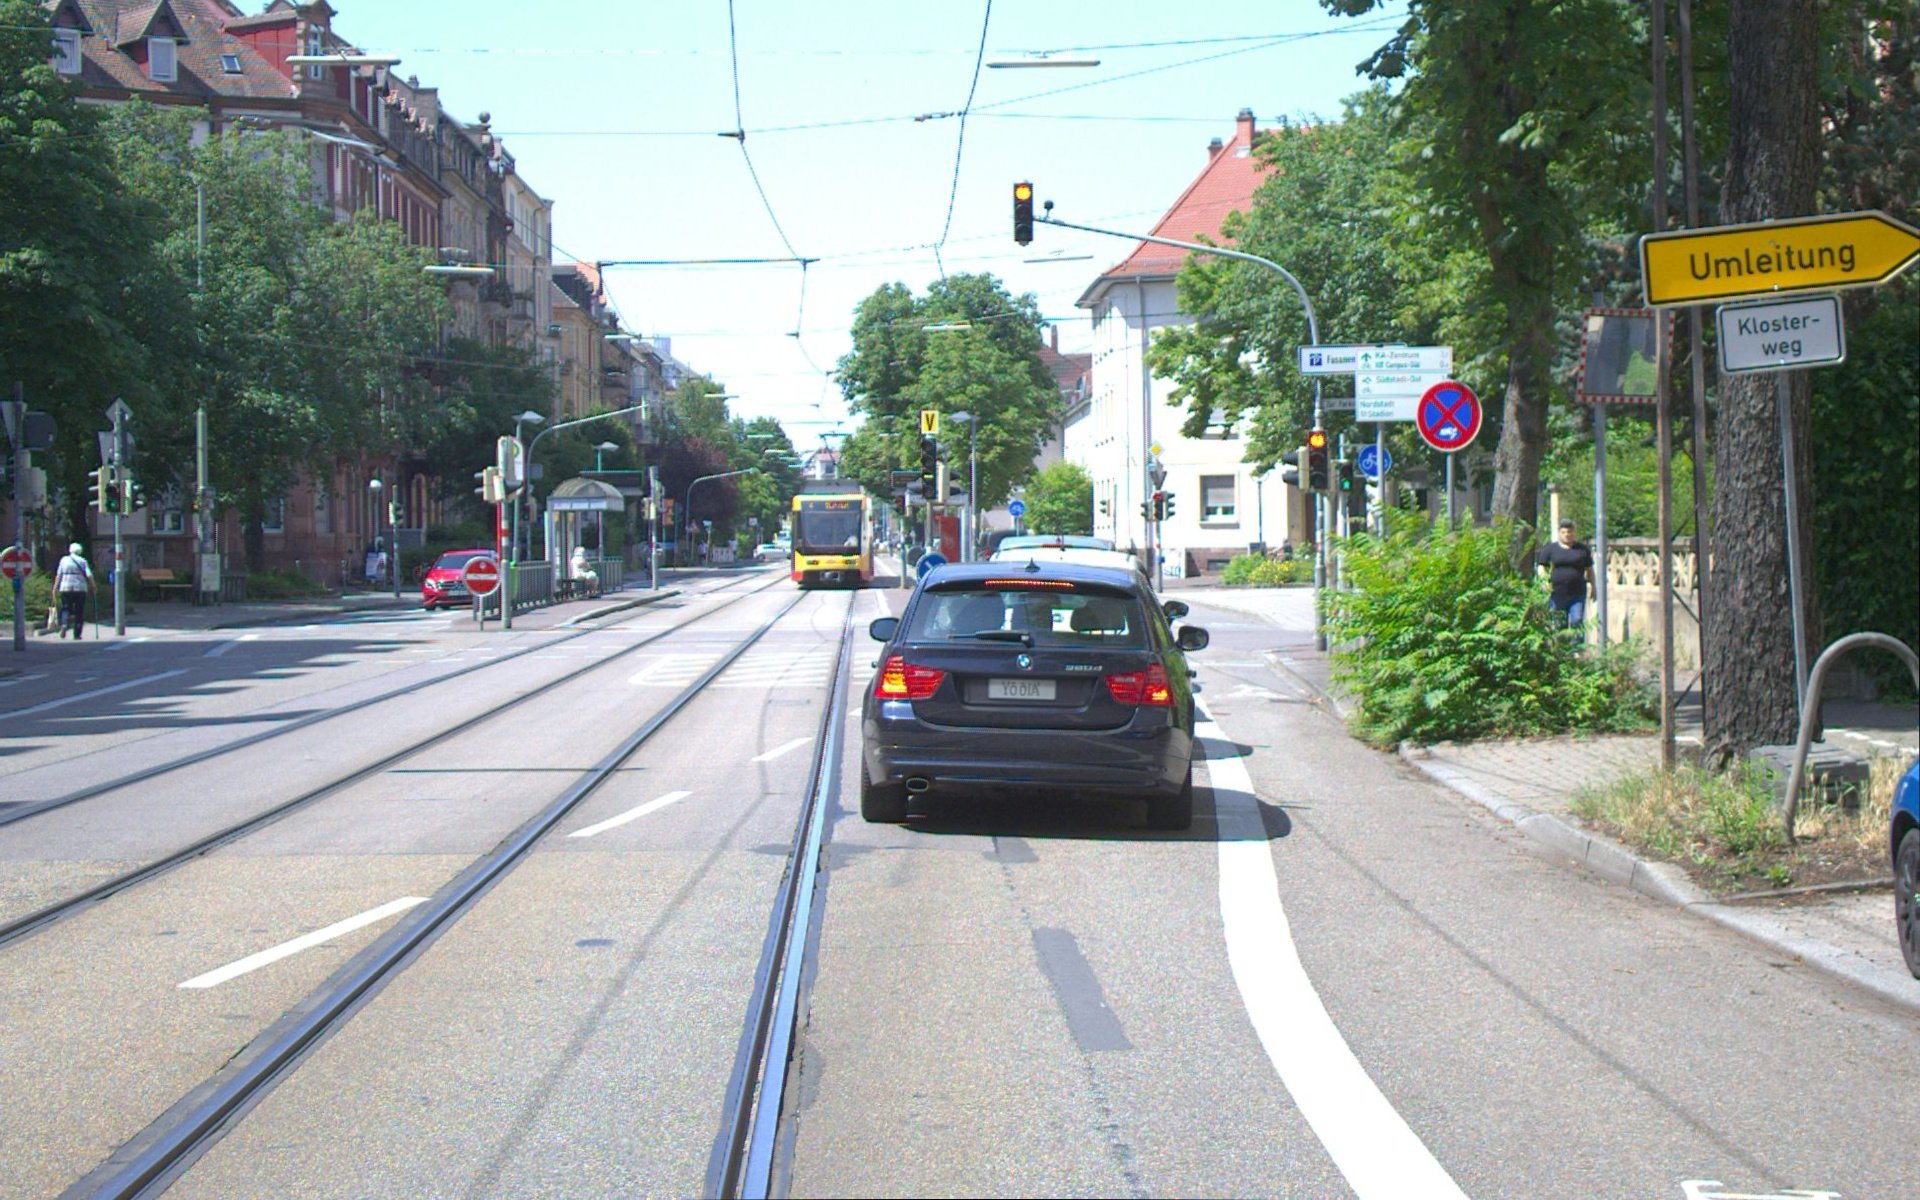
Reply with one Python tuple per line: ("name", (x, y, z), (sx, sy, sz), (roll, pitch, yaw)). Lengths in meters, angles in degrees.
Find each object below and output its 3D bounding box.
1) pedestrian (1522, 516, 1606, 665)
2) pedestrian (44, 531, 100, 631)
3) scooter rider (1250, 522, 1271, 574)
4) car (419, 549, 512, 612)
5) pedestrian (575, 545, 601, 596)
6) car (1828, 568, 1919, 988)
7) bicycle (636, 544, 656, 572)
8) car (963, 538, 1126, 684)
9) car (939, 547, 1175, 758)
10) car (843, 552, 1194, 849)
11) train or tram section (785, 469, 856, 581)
("pedestrian", (6.750, -0.109, 38.463), (0.857, 1.640, 0.836), (-1, 1, 7))
("pedestrian", (-15.395, -0.341, 59.590), (0.916, 1.717, 0.840), (-1, 1, -15))
("scooter rider", (9.786, -1.701, 111.979), (0.590, 1.681, 0.528), (-1, 1, -6))
("car", (-11.988, -0.497, 83.537), (1.822, 1.408, 4.429), (-2, 1, -3))
("pedestrian", (-9.028, -0.720, 83.412), (0.613, 1.238, 0.628), (0, 1, -7))
("car", (4.186, 0.633, 11.118), (1.677, 1.438, 3.721), (-1, 1, -2))
("bicycle", (-12.654, -1.690, 138.507), (0.728, 1.098, 1.716), (0, 1, -2))
("car", (0.960, 0.082, 38.336), (1.691, 1.508, 3.821), (1, 1, 2))
("car", (0.718, 0.349, 26.586), (1.685, 1.479, 3.684), (-1, 1, 1))
("car", (0.367, 0.472, 19.516), (1.722, 1.404, 4.565), (2, 1, 2))
("train or tram section", (-4.498, -2.447, 111.712), (2.190, 3.470, 8.846), (-1, 1, -2))
